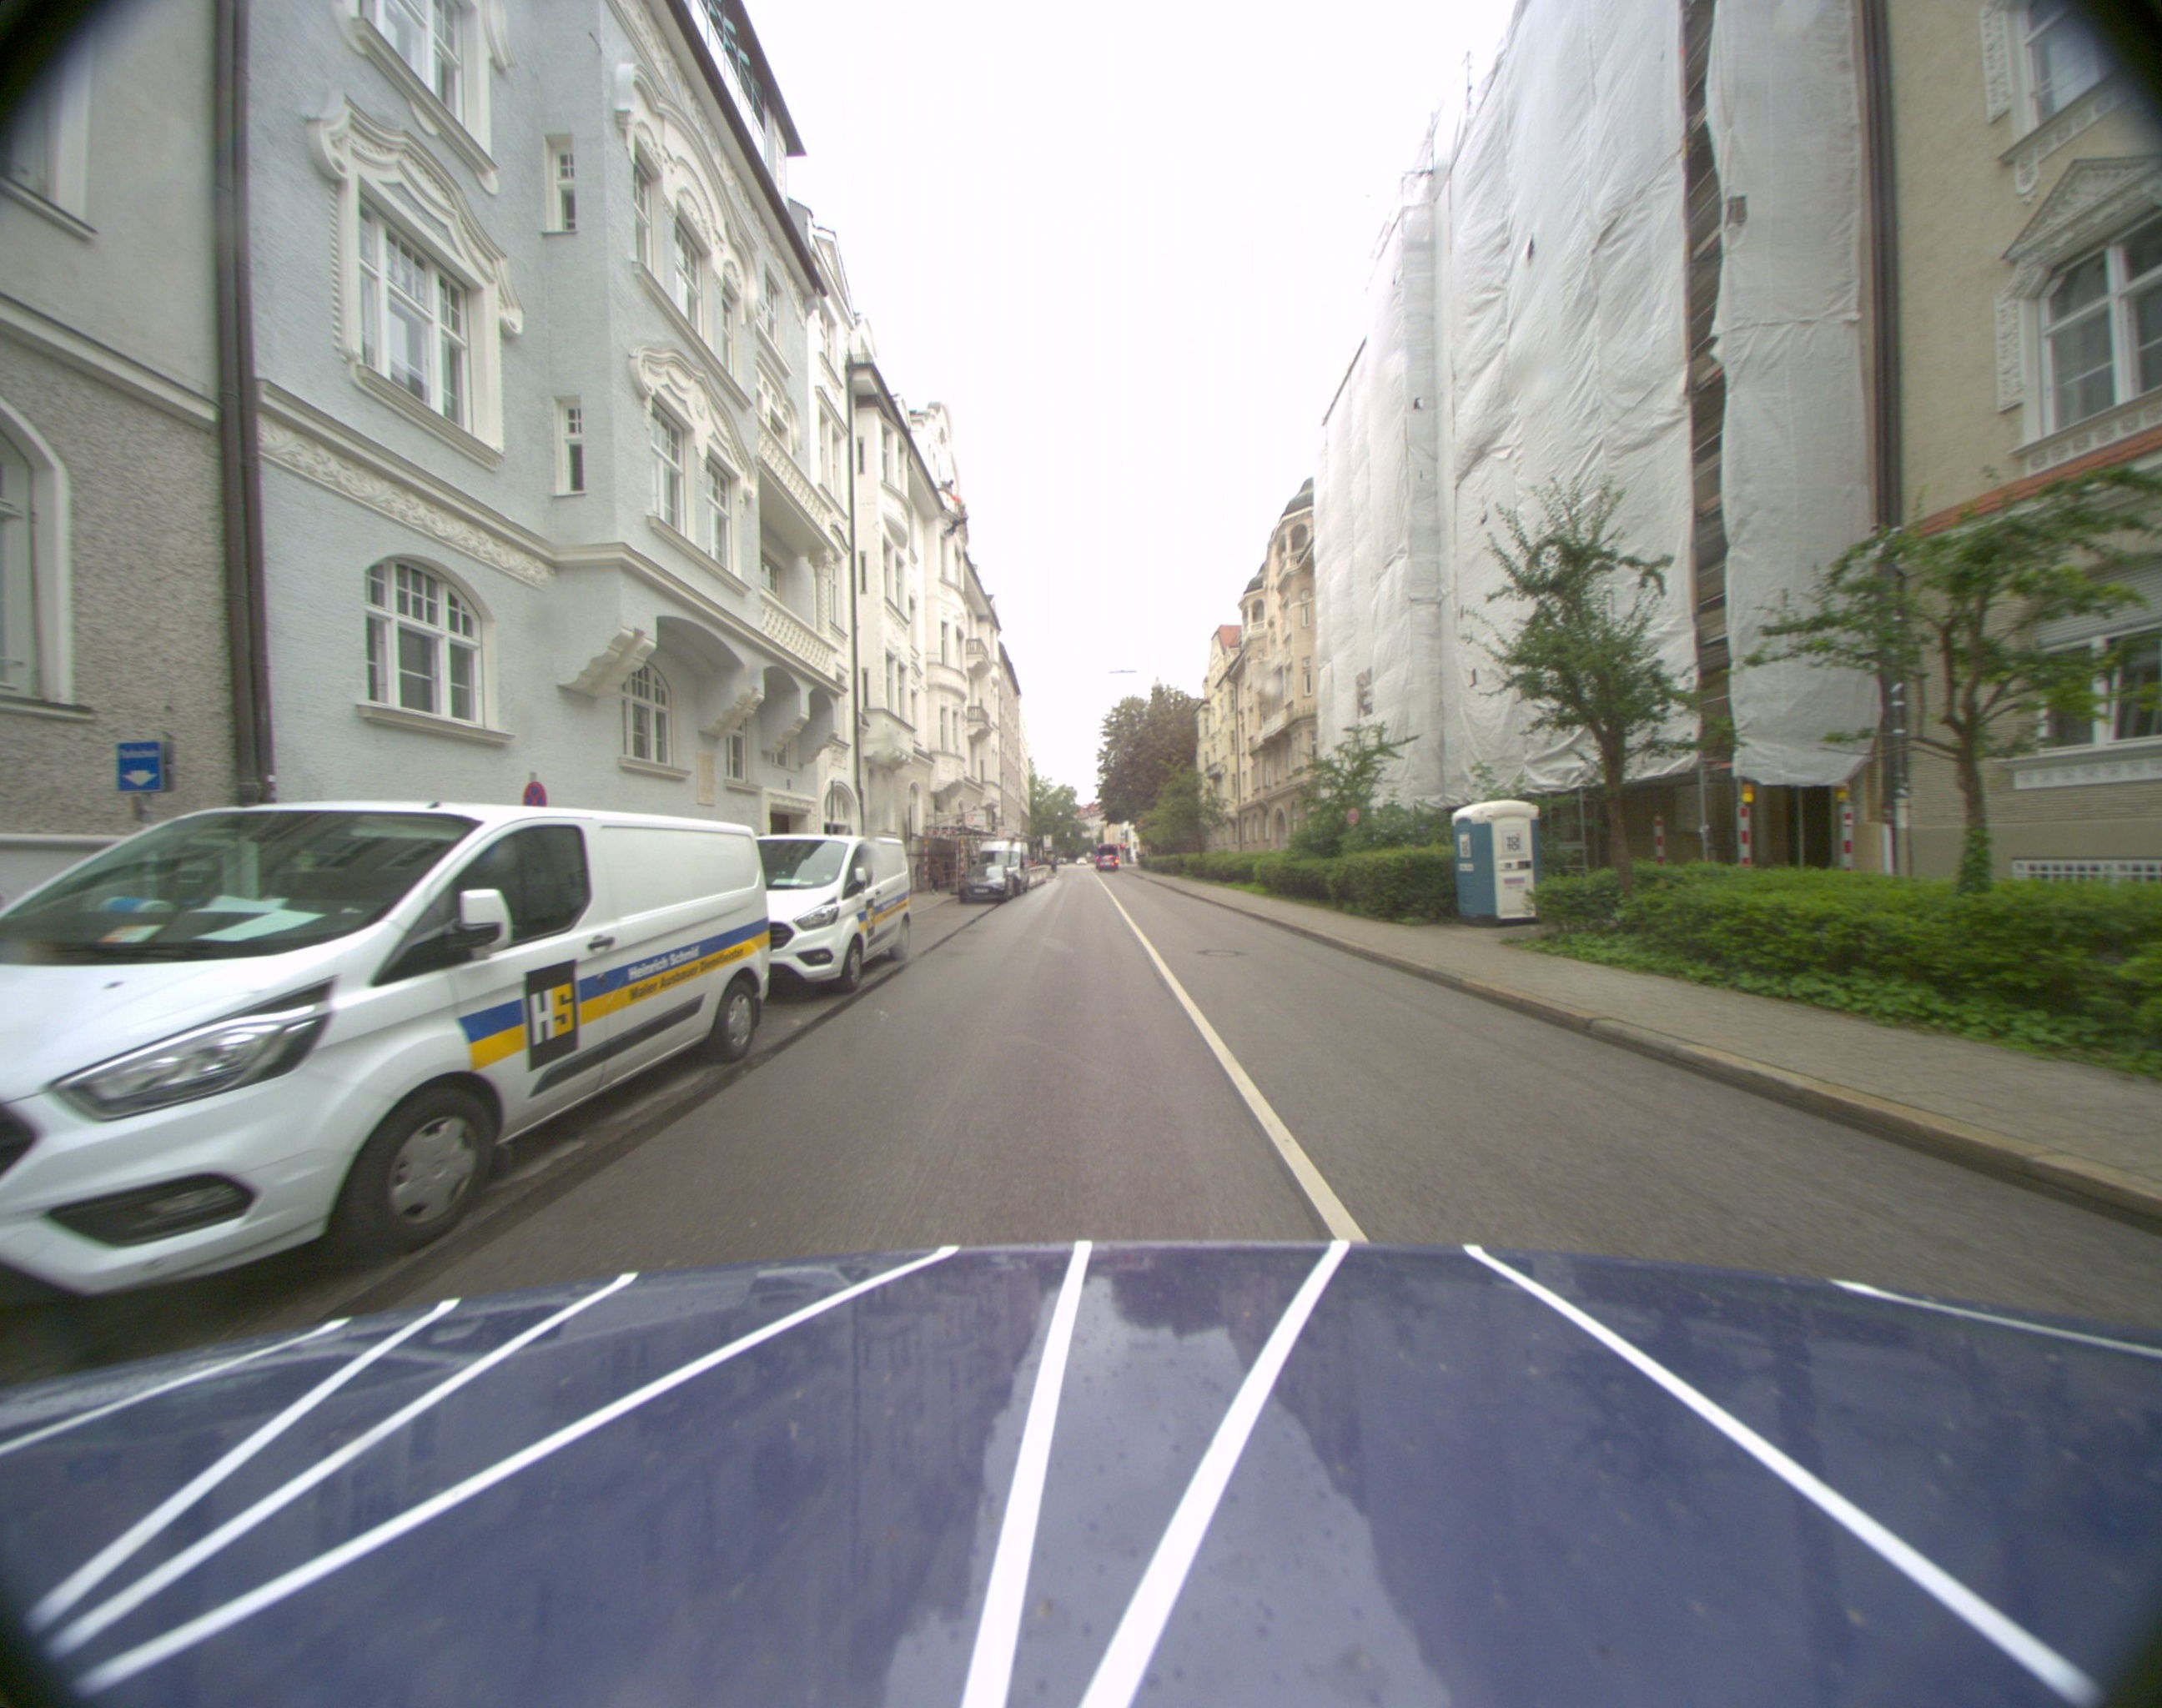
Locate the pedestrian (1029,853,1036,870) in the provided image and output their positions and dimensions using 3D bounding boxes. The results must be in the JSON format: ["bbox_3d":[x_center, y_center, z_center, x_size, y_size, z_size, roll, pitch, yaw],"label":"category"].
[{"bbox_3d":[-4.973,0.729,77.810,0.704,1.723,0.746,-1,1,1],"label":"pedestrian"}]

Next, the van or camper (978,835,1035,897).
[{"bbox_3d":[-3.364,0.502,35.454,1.958,2.621,5.458,-1,0,1],"label":"van or camper"}]

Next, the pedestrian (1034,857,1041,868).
[{"bbox_3d":[-4.799,0.963,83.732,0.682,1.230,0.495,-1,1,1],"label":"pedestrian"}]

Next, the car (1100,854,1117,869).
[{"bbox_3d":[2.860,0.789,78.457,1.588,1.470,3.782,-1,0,0],"label":"car"}]

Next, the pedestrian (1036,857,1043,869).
[{"bbox_3d":[-4.546,0.971,83.228,0.709,1.230,0.585,-1,1,1],"label":"pedestrian"}]

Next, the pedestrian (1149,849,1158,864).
[{"bbox_3d":[8.601,0.327,90.039,0.784,1.735,0.877,-1,1,32],"label":"pedestrian"}]

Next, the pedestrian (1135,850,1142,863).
[{"bbox_3d":[9.071,0.388,120.061,0.952,2.002,1.397,-1,1,10],"label":"pedestrian"}]

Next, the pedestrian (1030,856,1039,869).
[{"bbox_3d":[-4.951,0.918,80.492,0.862,1.344,0.862,-1,0,1],"label":"pedestrian"}]

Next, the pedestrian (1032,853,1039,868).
[{"bbox_3d":[-5.067,0.724,84.302,0.659,1.723,0.684,-1,1,1],"label":"pedestrian"}]

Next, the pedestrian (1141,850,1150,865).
[{"bbox_3d":[7.617,0.400,89.909,0.875,1.735,0.910,-1,1,0],"label":"pedestrian"}]

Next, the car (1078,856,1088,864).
[{"bbox_3d":[0.365,1.227,155.997,1.927,1.608,3.999,-2,0,0],"label":"car"}]

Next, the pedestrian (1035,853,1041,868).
[{"bbox_3d":[-4.936,0.731,87.607,0.659,1.723,0.696,-1,1,1],"label":"pedestrian"}]

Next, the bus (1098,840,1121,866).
[{"bbox_3d":[3.529,-0.107,95.045,2.586,3.083,8.923,-1,0,1],"label":"bus"}]

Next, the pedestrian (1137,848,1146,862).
[{"bbox_3d":[8.442,0.132,106.335,0.832,2.002,0.778,-3,1,-43],"label":"pedestrian"}]

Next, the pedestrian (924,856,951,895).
[{"bbox_3d":[-5.960,0.896,31.522,0.923,1.546,1.016,1,2,0],"label":"pedestrian"}]

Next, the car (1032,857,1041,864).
[{"bbox_3d":[-9.705,1.406,166.592,1.719,1.543,3.999,-1,0,-1],"label":"car"}]

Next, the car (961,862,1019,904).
[{"bbox_3d":[-3.454,1.072,29.500,1.758,1.426,4.086,-1,0,0],"label":"car"}]

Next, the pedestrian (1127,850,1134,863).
[{"bbox_3d":[7.837,0.433,120.072,0.952,2.002,1.397,-1,1,10],"label":"pedestrian"}]

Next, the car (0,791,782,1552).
[{"bbox_3d":[-3.685,0.825,4.391,1.964,1.926,4.992,-1,0,-1],"label":"car"}]

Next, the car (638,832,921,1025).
[{"bbox_3d":[-3.714,0.785,10.553,1.964,2.002,4.992,-1,0,-1],"label":"car"}]

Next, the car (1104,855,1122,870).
[{"bbox_3d":[3.524,0.929,84.902,1.772,1.635,4.273,-1,0,0],"label":"car"}]

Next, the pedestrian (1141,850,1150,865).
[{"bbox_3d":[7.522,0.422,88.161,0.910,1.735,0.847,-1,1,0],"label":"pedestrian"}]

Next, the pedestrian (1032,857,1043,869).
[{"bbox_3d":[-4.744,0.955,82.187,1.099,1.230,0.668,-1,1,1],"label":"pedestrian"}]
